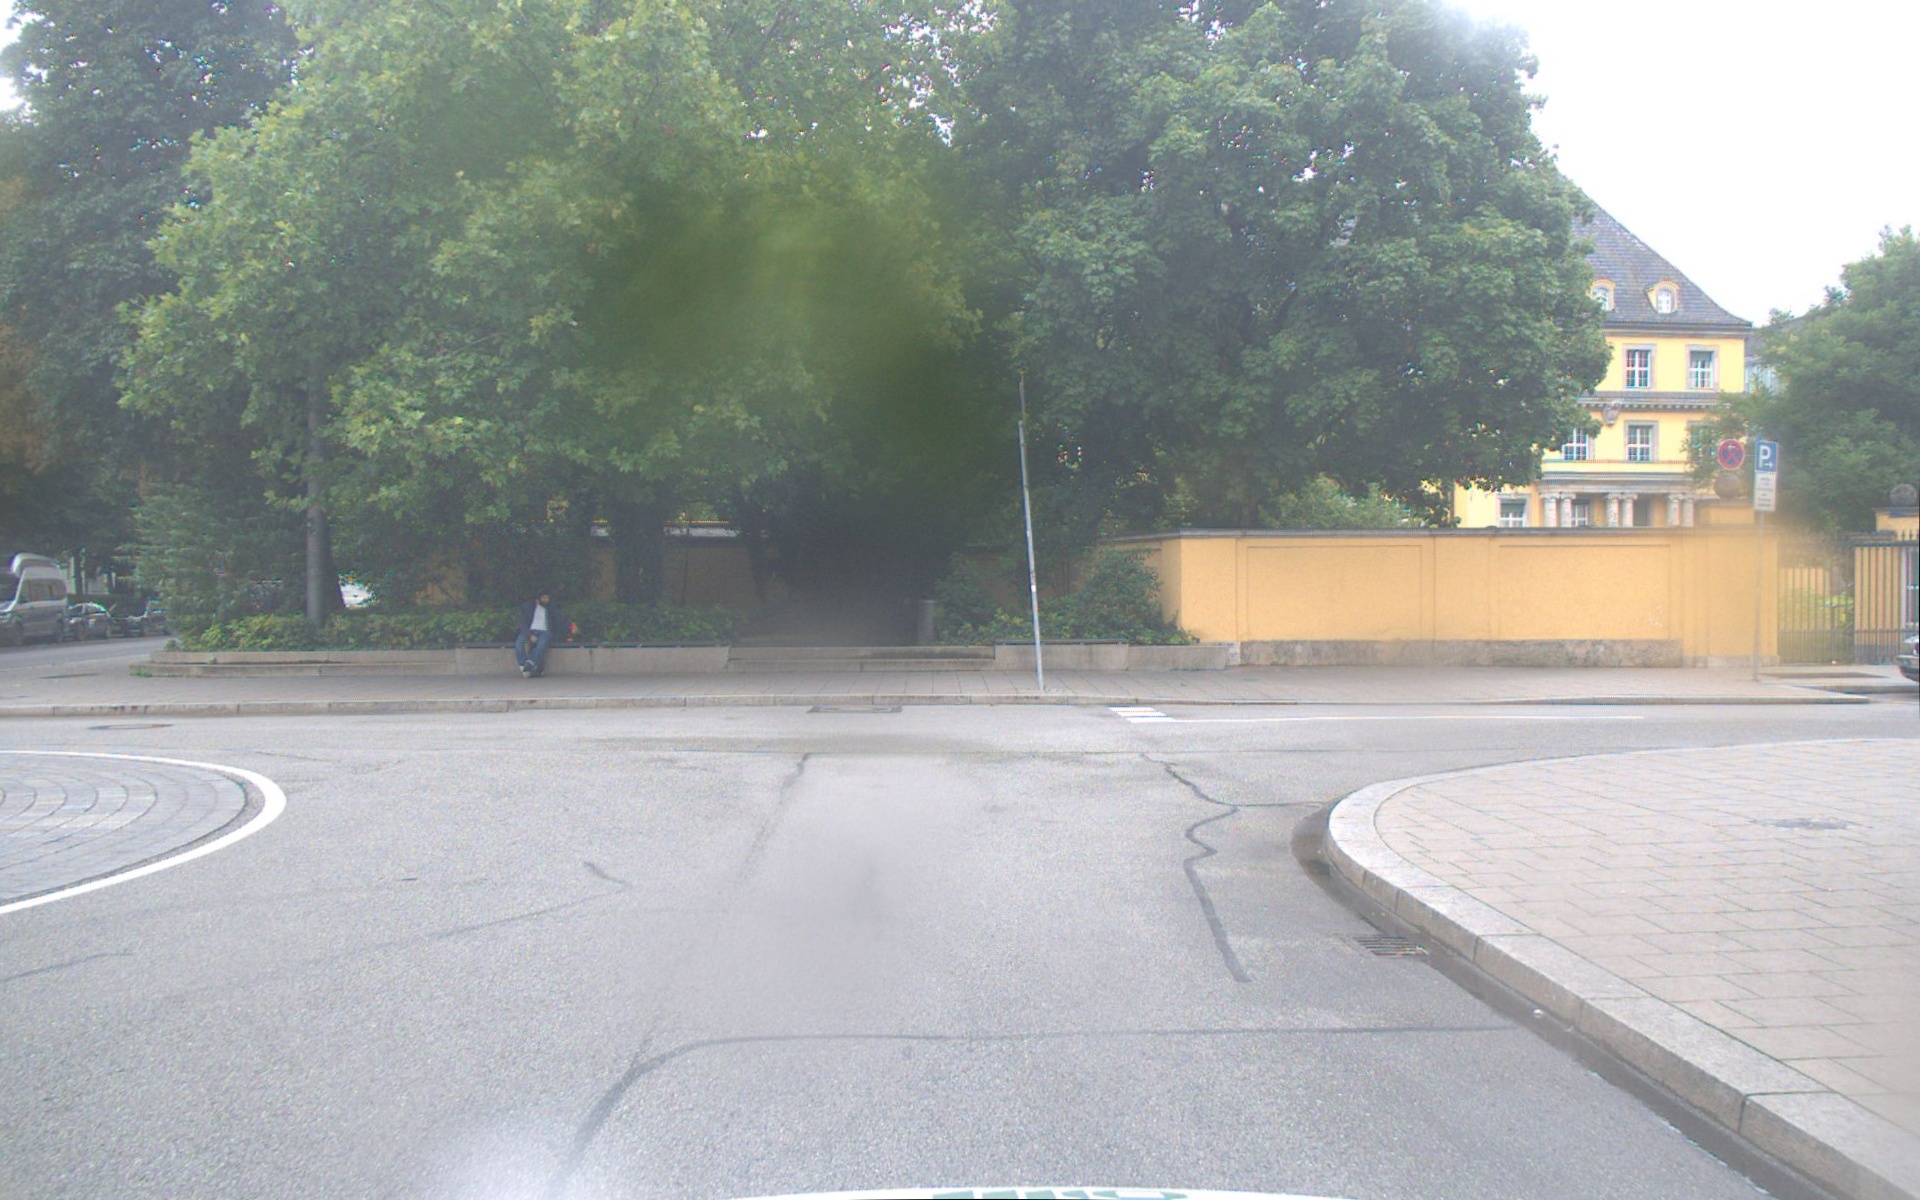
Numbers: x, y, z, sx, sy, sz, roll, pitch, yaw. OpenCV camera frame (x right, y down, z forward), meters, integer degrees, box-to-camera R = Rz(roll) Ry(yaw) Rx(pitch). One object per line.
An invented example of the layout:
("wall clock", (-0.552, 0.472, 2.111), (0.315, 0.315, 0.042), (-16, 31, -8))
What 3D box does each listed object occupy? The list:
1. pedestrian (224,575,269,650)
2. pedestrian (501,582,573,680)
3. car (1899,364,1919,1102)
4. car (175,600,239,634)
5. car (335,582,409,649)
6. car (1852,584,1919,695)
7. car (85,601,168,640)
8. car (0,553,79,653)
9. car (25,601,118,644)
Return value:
("pedestrian", (-18.138, 0.314, 42.040), (0.814, 1.868, 0.939), (-1, 0, -38))
("pedestrian", (-6.083, 0.430, 23.815), (0.753, 1.380, 1.131), (-1, 0, -2))
("car", (3.641, 0.357, 1.796), (1.900, 1.955, 5.371), (-2, 1, -4))
("car", (-35.385, 0.769, 77.766), (1.960, 1.513, 4.115), (-1, 0, -14))
("car", (-24.101, 0.610, 67.957), (1.958, 2.603, 5.416), (-1, 0, -10))
("car", (14.247, 0.469, 21.495), (4.361, 1.392, 1.800), (-1, 0, -2))
("car", (-32.477, 0.780, 64.559), (1.960, 1.445, 4.115), (-1, 0, -14))
("car", (-30.692, 0.084, 53.488), (2.134, 3.055, 6.216), (-1, 0, -11))
("car", (-31.666, 0.782, 59.075), (1.960, 1.445, 3.986), (-1, 0, -14))
